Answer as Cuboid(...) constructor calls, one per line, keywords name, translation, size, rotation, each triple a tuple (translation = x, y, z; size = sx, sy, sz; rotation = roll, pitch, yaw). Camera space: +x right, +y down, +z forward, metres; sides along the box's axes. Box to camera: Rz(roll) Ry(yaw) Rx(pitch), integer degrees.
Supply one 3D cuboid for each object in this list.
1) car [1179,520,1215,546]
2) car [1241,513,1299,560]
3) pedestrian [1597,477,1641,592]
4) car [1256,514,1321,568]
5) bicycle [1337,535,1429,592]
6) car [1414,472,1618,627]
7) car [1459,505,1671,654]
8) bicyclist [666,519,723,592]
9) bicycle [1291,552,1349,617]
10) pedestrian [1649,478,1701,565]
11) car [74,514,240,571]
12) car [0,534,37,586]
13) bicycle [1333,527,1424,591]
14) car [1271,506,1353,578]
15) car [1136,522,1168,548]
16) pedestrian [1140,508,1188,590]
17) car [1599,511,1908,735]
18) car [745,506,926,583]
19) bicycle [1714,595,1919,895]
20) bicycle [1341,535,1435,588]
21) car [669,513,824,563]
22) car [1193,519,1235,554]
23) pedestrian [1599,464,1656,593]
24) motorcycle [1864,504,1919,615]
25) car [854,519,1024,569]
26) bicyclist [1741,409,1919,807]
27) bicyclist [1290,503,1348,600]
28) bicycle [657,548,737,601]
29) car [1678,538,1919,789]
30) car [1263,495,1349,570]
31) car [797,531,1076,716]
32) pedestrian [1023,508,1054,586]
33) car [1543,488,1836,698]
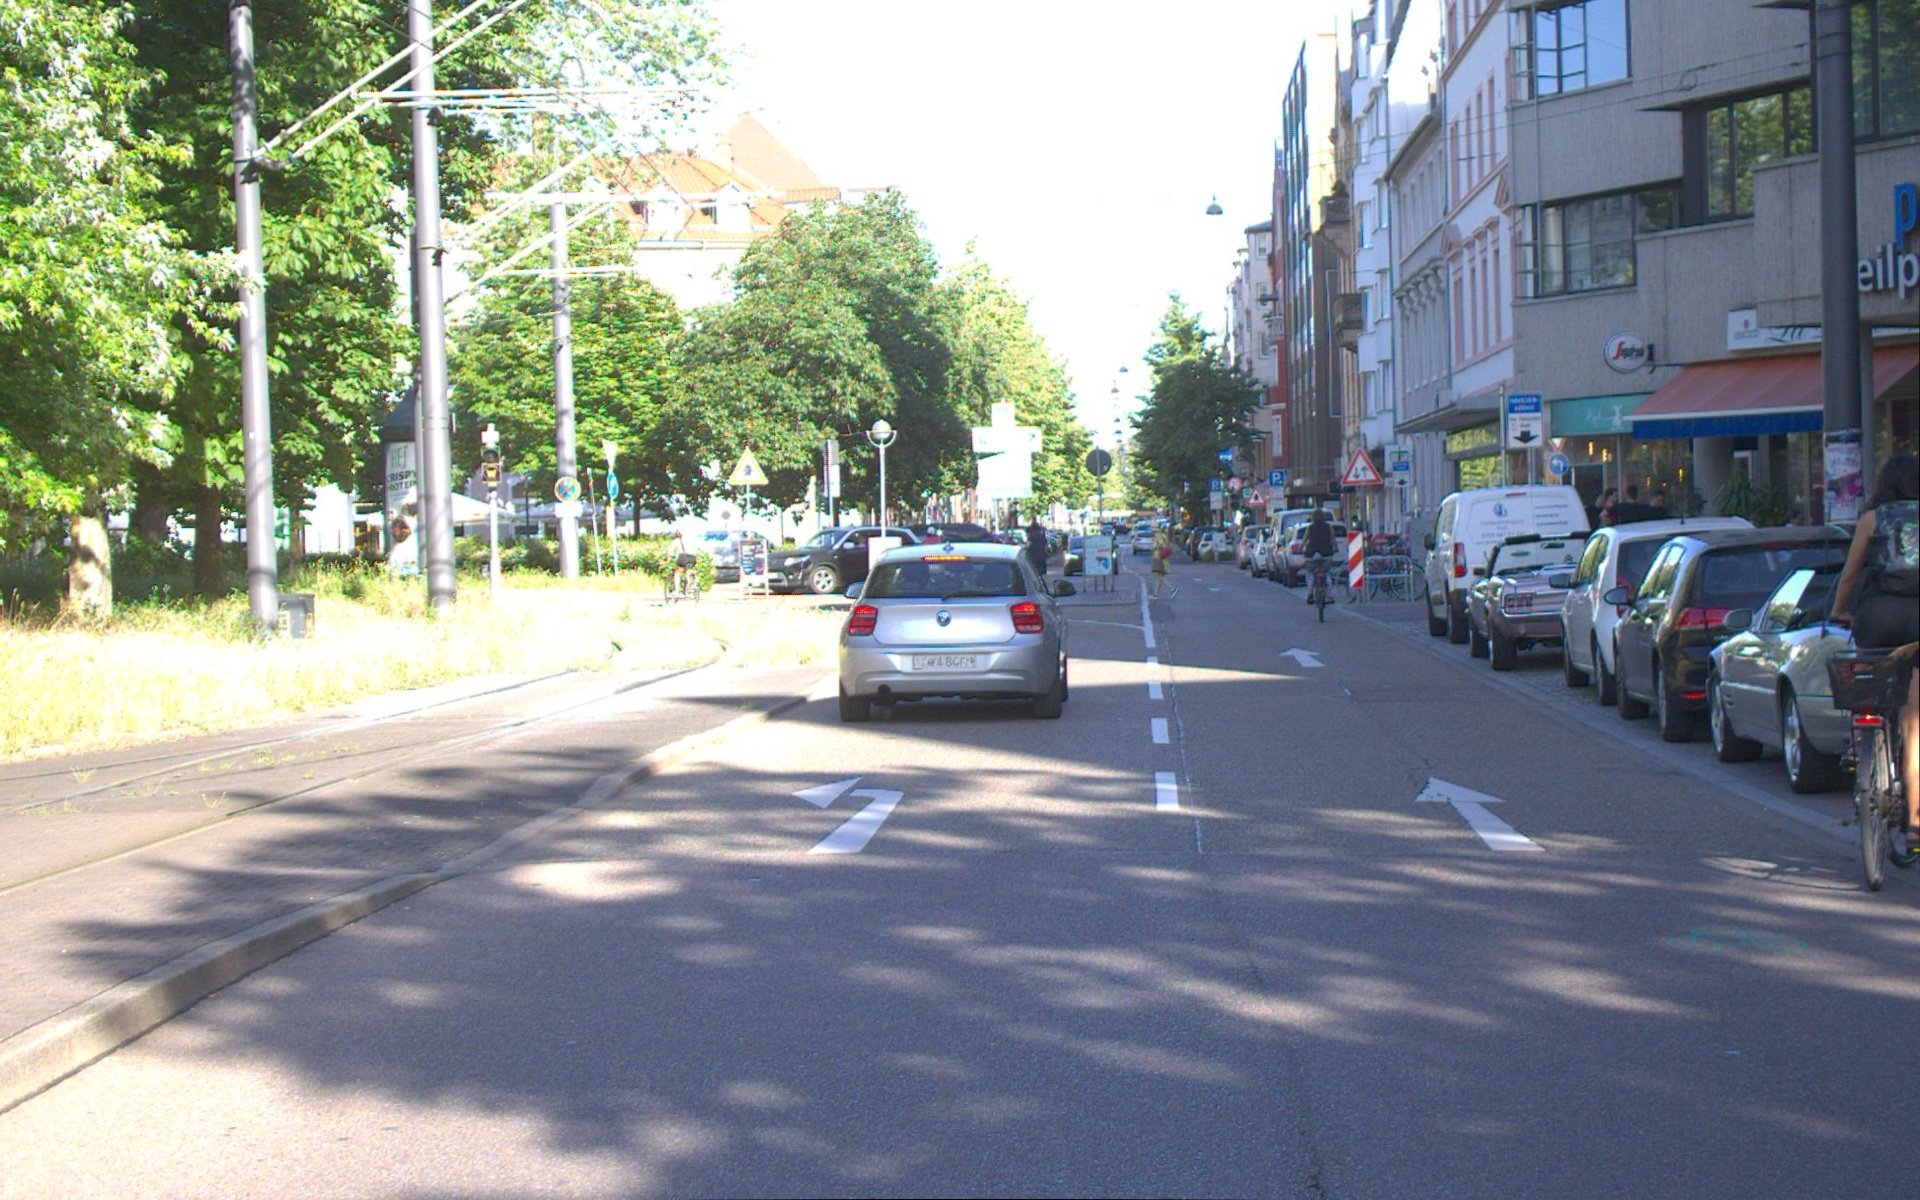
Cuboid(name="car", translation=(13.805, -3.908, 200.317), size=(1.994, 1.448, 4.000), rotation=(0, 1, 2))
Cuboid(name="car", translation=(11.411, -2.334, 126.666), size=(1.899, 1.669, 4.824), rotation=(0, 0, 3))
Cuboid(name="pedestrian", translation=(9.878, -0.980, 51.523), size=(0.583, 1.708, 0.697), rotation=(0, 0, 6))
Cuboid(name="car", translation=(10.069, -1.799, 105.548), size=(1.718, 1.510, 3.582), rotation=(-3, 0, 3))
Cuboid(name="bicycle", translation=(7.950, -0.683, 64.588), size=(1.681, 1.058, 0.343), rotation=(0, 0, 19))
Cuboid(name="car", translation=(6.792, -0.600, 42.391), size=(1.994, 1.806, 4.309), rotation=(0, 0, 3))
Cuboid(name="car", translation=(6.248, -0.214, 35.911), size=(1.774, 1.449, 4.730), rotation=(0, 0, 5))
Cuboid(name="bicyclist", translation=(-5.470, -0.915, 70.784), size=(0.928, 1.502, 0.825), rotation=(0, 0, -24))
Cuboid(name="bicycle", translation=(5.424, -0.228, 51.865), size=(0.652, 0.955, 2.698), rotation=(0, 0, 1))
Cuboid(name="pedestrian", translation=(10.527, -1.156, 50.621), size=(0.630, 1.232, 0.624), rotation=(-3, 0, 6))
Cuboid(name="car", translation=(-28.837, -2.054, 123.499), size=(5.574, 2.007, 1.818), rotation=(0, 0, -23))
Cuboid(name="car", translation=(-35.101, -1.409, 121.169), size=(4.855, 1.798, 1.910), rotation=(0, 0, -19))
Cuboid(name="bicycle", translation=(8.088, -0.789, 66.411), size=(1.623, 1.239, 0.658), rotation=(0, 0, 23))
Cuboid(name="car", translation=(8.747, -1.427, 85.711), size=(1.745, 1.733, 4.960), rotation=(0, 0, 3))
Cuboid(name="car", translation=(11.667, -3.927, 208.769), size=(1.870, 1.550, 3.999), rotation=(0, 0, 4))
Cuboid(name="pedestrian", translation=(4.221, -1.045, 71.240), size=(0.668, 1.693, 0.805), rotation=(0, 0, -27))
Cuboid(name="car", translation=(5.772, 0.144, 25.418), size=(1.671, 1.513, 4.198), rotation=(0, 0, 5))
Cuboid(name="car", translation=(-2.871, -1.286, 79.647), size=(3.860, 1.676, 1.811), rotation=(-2, 1, -40))
Cuboid(name="bicycle", translation=(3.977, 0.572, 14.640), size=(0.821, 1.181, 1.960), rotation=(0, 0, 34))
Cuboid(name="bicycle", translation=(8.084, -0.722, 64.947), size=(1.705, 1.001, 0.427), rotation=(0, 0, 19))
Cuboid(name="car", translation=(-7.847, -2.263, 126.434), size=(5.262, 1.794, 2.164), rotation=(0, 0, -23))
Cuboid(name="car", translation=(12.428, -3.084, 168.018), size=(1.994, 1.612, 4.009), rotation=(1, 0, 5))
Cuboid(name="pedestrian", translation=(9.847, -1.046, 50.707), size=(0.671, 1.850, 0.610), rotation=(-3, 0, 6))
Cuboid(name="motorcycle", translation=(10.310, -0.443, 37.422), size=(0.764, 1.151, 2.046), rotation=(-3, -1, 13))
Cuboid(name="car", translation=(-0.642, -1.689, 104.325), size=(4.833, 1.483, 1.765), rotation=(0, 0, -20))
Cuboid(name="bicyclist", translation=(3.949, 0.030, 14.612), size=(0.941, 1.628, 0.933), rotation=(0, 0, 35))
Cuboid(name="bicyclist", translation=(5.416, -0.726, 51.908), size=(0.786, 1.448, 1.095), rotation=(0, 0, 1))
Cuboid(name="bicycle", translation=(-5.416, -0.514, 70.663), size=(0.809, 1.065, 2.583), rotation=(0, 0, -24))
Cuboid(name="car", translation=(5.586, 0.332, 20.654), size=(1.851, 1.339, 4.599), rotation=(0, 0, 4))
Cuboid(name="car", translation=(9.632, -1.888, 96.079), size=(1.993, 1.998, 5.117), rotation=(-1, 1, 1))
Cuboid(name="car", translation=(-0.113, 0.172, 28.663), size=(1.994, 1.418, 4.196), rotation=(0, 0, 4))
Cuboid(name="pedestrian", translation=(1.691, -1.135, 73.702), size=(0.636, 1.666, 0.692), rotation=(0, 0, 4))
Cuboid(name="car", translation=(6.186, -0.067, 29.561), size=(1.851, 1.683, 3.867), rotation=(0, 0, 3))
